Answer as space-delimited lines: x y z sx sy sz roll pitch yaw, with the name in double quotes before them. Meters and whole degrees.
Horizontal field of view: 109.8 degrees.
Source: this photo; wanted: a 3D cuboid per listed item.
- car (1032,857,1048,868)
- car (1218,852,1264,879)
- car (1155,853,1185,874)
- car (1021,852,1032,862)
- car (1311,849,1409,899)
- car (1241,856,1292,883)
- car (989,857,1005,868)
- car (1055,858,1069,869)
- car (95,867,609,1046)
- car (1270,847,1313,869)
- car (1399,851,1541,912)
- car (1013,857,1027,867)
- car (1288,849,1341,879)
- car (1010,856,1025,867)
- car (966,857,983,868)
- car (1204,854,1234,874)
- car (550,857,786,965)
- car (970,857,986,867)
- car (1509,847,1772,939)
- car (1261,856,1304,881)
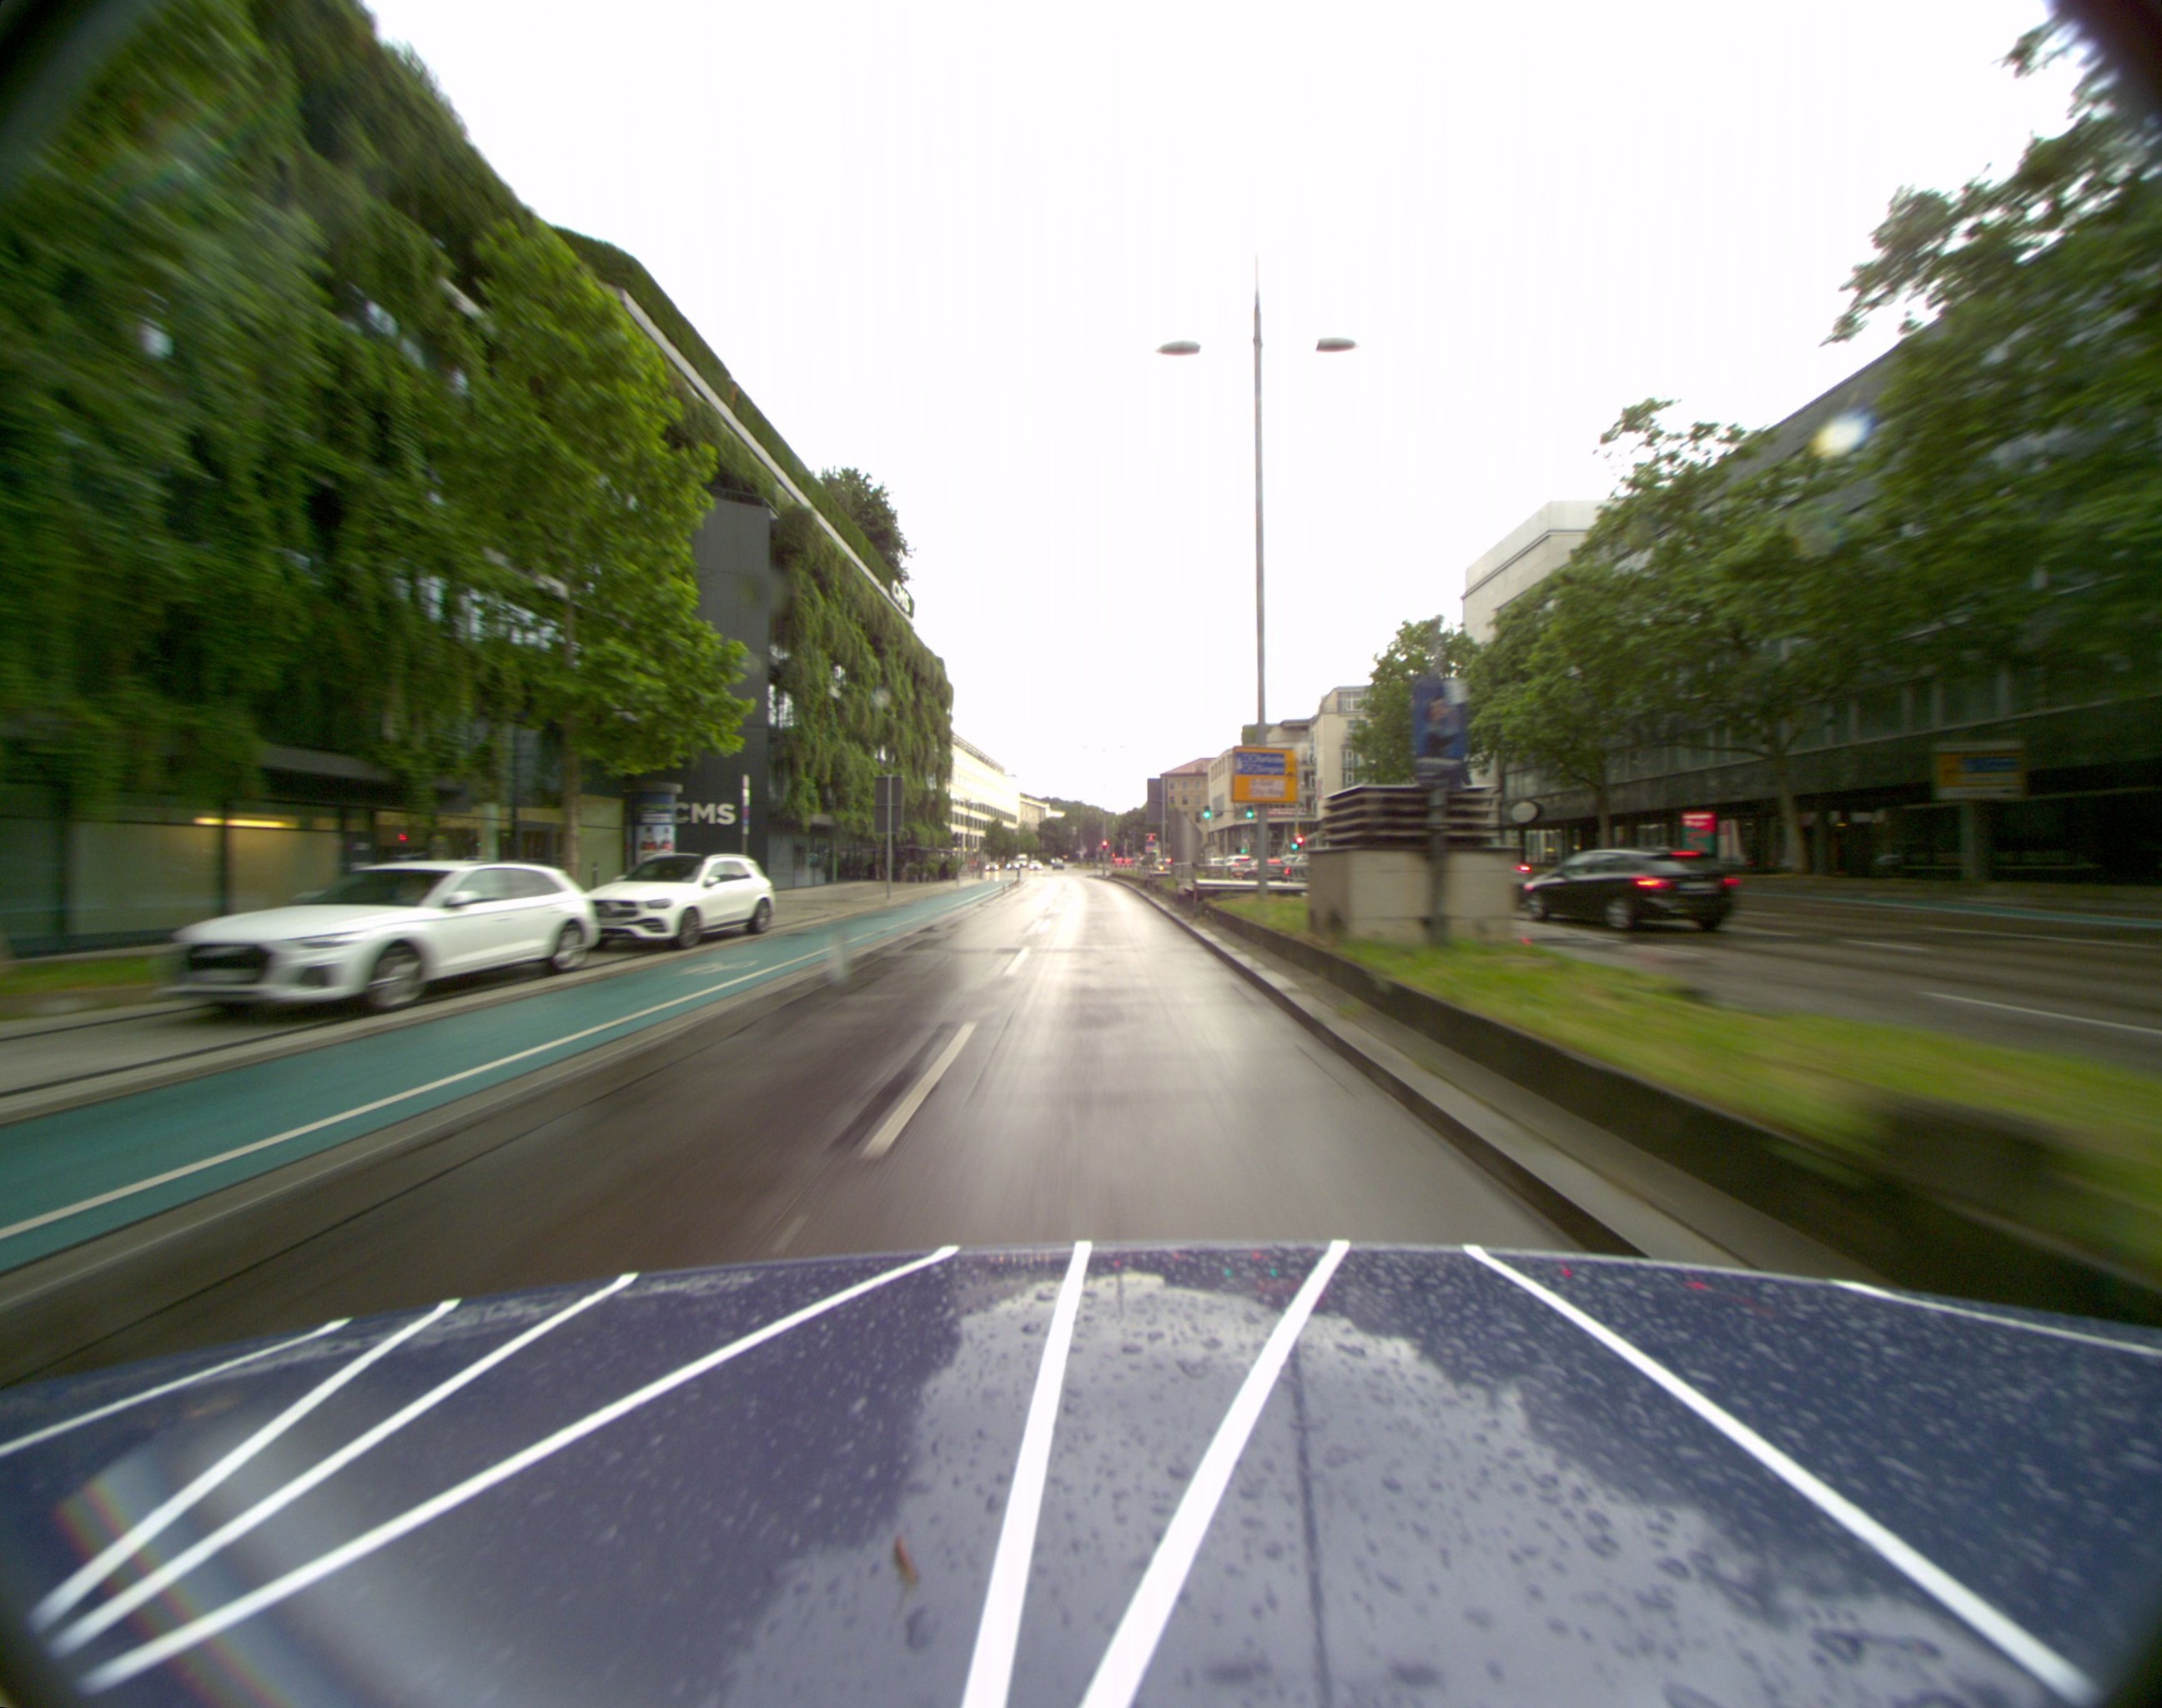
"car" -6.310 1.272 117.531 1.978 1.543 4.671 -1 0 1
"car" 10.733 0.768 51.214 1.882 1.675 4.797 -1 0 -3
"car" 6.829 0.719 58.818 1.848 1.473 4.164 -1 0 1
"car" -10.970 0.568 153.264 1.998 2.002 4.000 -1 0 1
"car" 10.662 0.724 29.449 1.840 1.756 5.108 -1 0 -1
"car" 10.837 0.871 44.760 1.848 1.442 4.917 -1 0 1
"car" -12.769 1.293 115.412 1.739 1.543 4.671 -1 0 1
"car" -2.886 1.454 116.558 1.739 1.543 4.671 -1 0 2
"car" -8.435 1.022 9.636 1.848 1.623 4.787 -1 0 1
"car" 16.340 0.332 59.187 1.762 1.608 4.660 -1 0 -4
"car" 11.093 0.727 22.114 1.739 1.564 4.832 -1 0 1
"car" -9.654 1.300 120.451 1.739 1.543 4.671 -1 0 1
"car" 14.001 0.590 45.811 1.848 1.655 4.412 -1 0 1
"car" -9.407 1.127 112.711 1.739 1.543 4.671 -1 0 1
"car" -15.733 1.290 112.619 1.739 1.543 4.671 -1 0 1
"car" 10.467 0.739 57.787 1.721 1.467 3.431 -1 0 1
"car" -8.083 0.985 15.578 1.847 1.827 5.095 0 0 3
"car" -16.295 1.238 120.693 1.739 1.543 4.671 -1 0 1
"car" 10.886 0.680 15.302 1.919 1.543 4.541 -1 0 0
"car" 13.806 0.960 52.286 1.758 1.556 3.999 -1 0 -2
